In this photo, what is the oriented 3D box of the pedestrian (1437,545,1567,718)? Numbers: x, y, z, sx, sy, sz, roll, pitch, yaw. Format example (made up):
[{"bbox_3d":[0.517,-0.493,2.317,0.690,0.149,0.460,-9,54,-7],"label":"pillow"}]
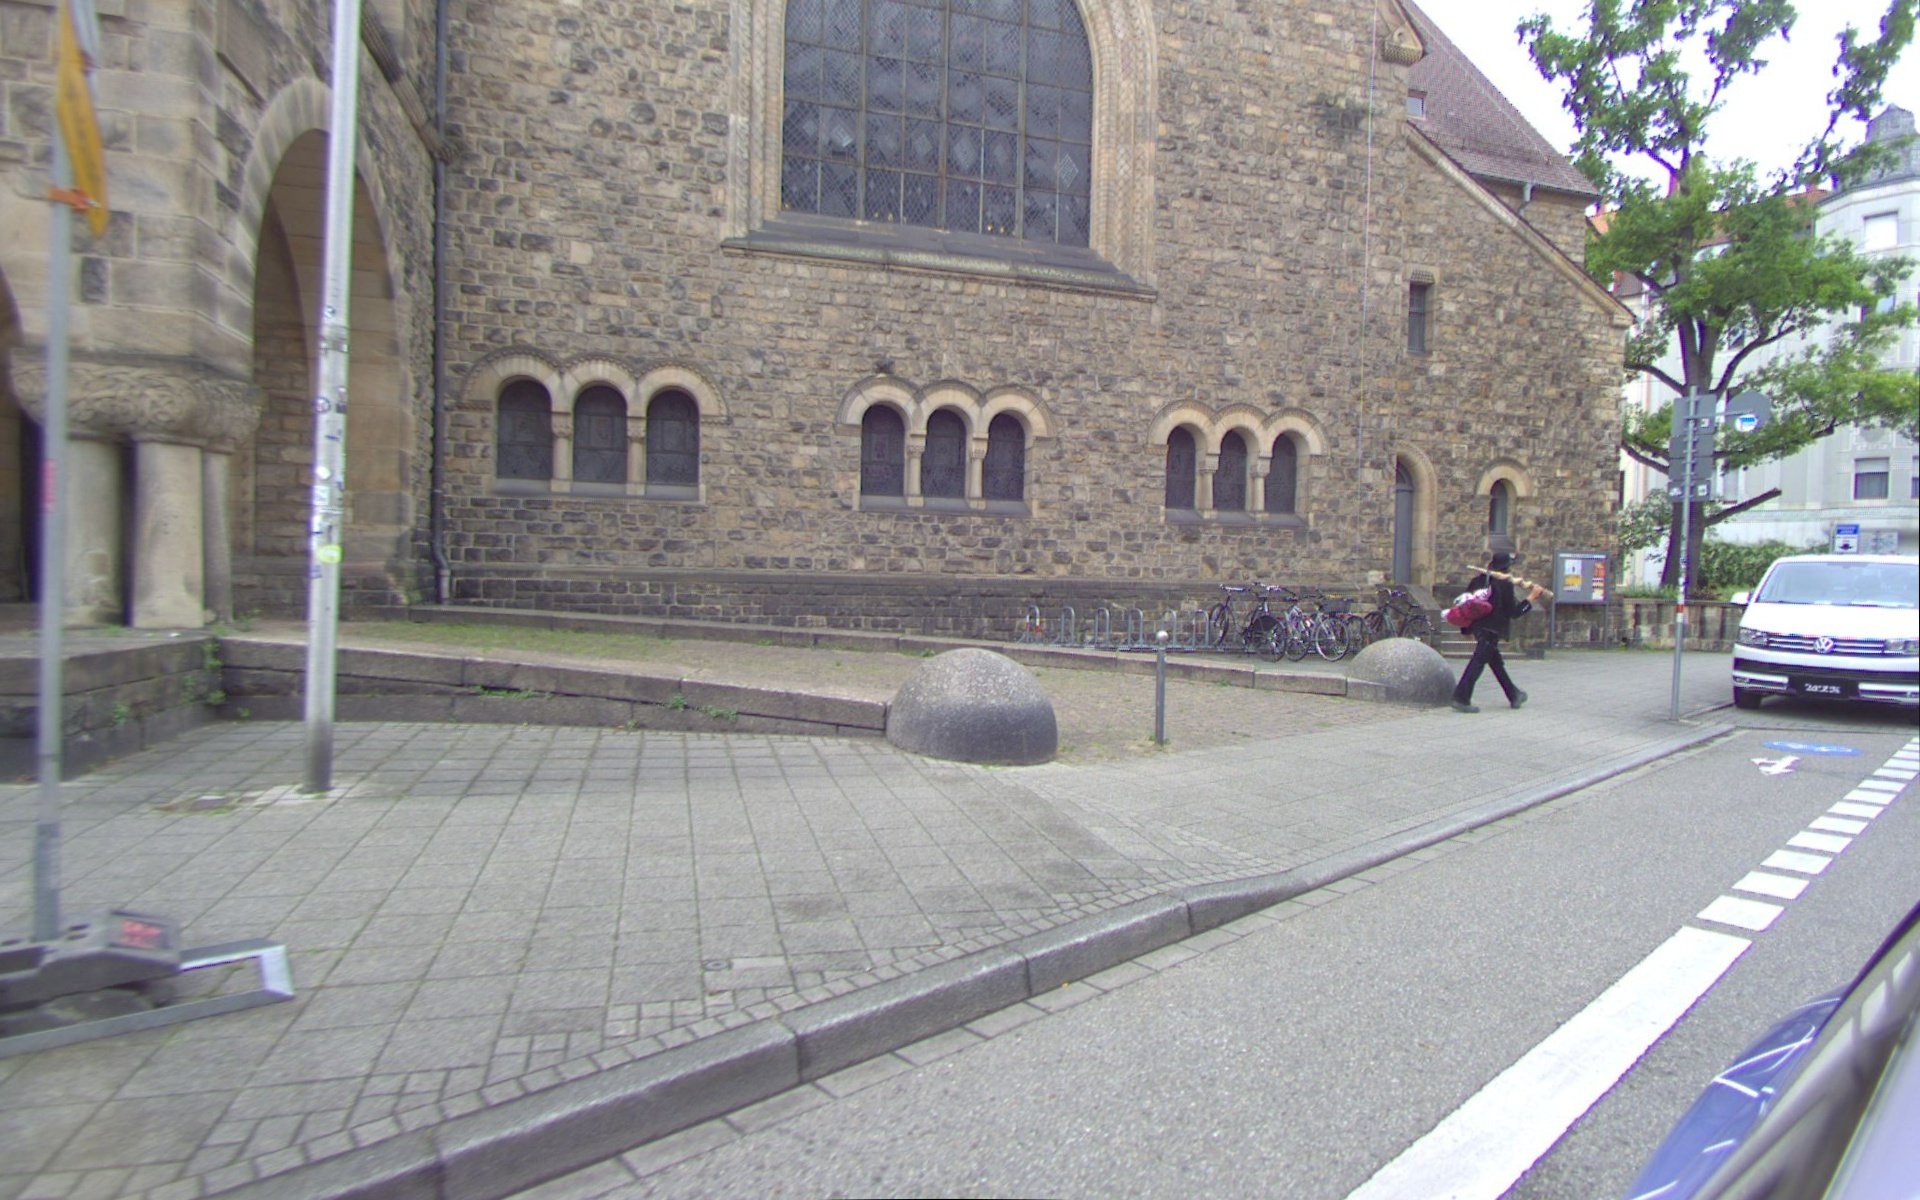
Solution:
[{"bbox_3d":[6.033,0.314,11.298,0.998,1.831,0.818,-2,2,-19],"label":"pedestrian"}]

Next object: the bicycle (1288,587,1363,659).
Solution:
[{"bbox_3d":[5.823,0.349,16.186,0.304,1.073,1.387,1,1,-18],"label":"bicycle"}]

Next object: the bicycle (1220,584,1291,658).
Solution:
[{"bbox_3d":[4.589,0.299,15.780,0.304,1.073,1.387,1,1,-18],"label":"bicycle"}]

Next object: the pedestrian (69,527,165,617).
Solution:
[{"bbox_3d":[-9.344,-0.311,11.241,0.602,0.963,0.675,1,1,-18],"label":"pedestrian"}]

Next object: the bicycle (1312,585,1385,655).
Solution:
[{"bbox_3d":[6.357,0.307,16.621,0.304,1.073,1.347,1,1,-18],"label":"bicycle"}]

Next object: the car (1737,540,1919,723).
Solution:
[{"bbox_3d":[11.689,0.306,12.966,5.075,1.943,1.808,0,2,-42],"label":"car"}]

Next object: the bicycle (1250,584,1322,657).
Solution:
[{"bbox_3d":[5.128,0.308,16.002,0.304,1.073,1.387,1,1,-18],"label":"bicycle"}]

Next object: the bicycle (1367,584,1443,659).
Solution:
[{"bbox_3d":[7.286,0.328,16.623,0.304,1.161,1.347,1,1,-18],"label":"bicycle"}]
